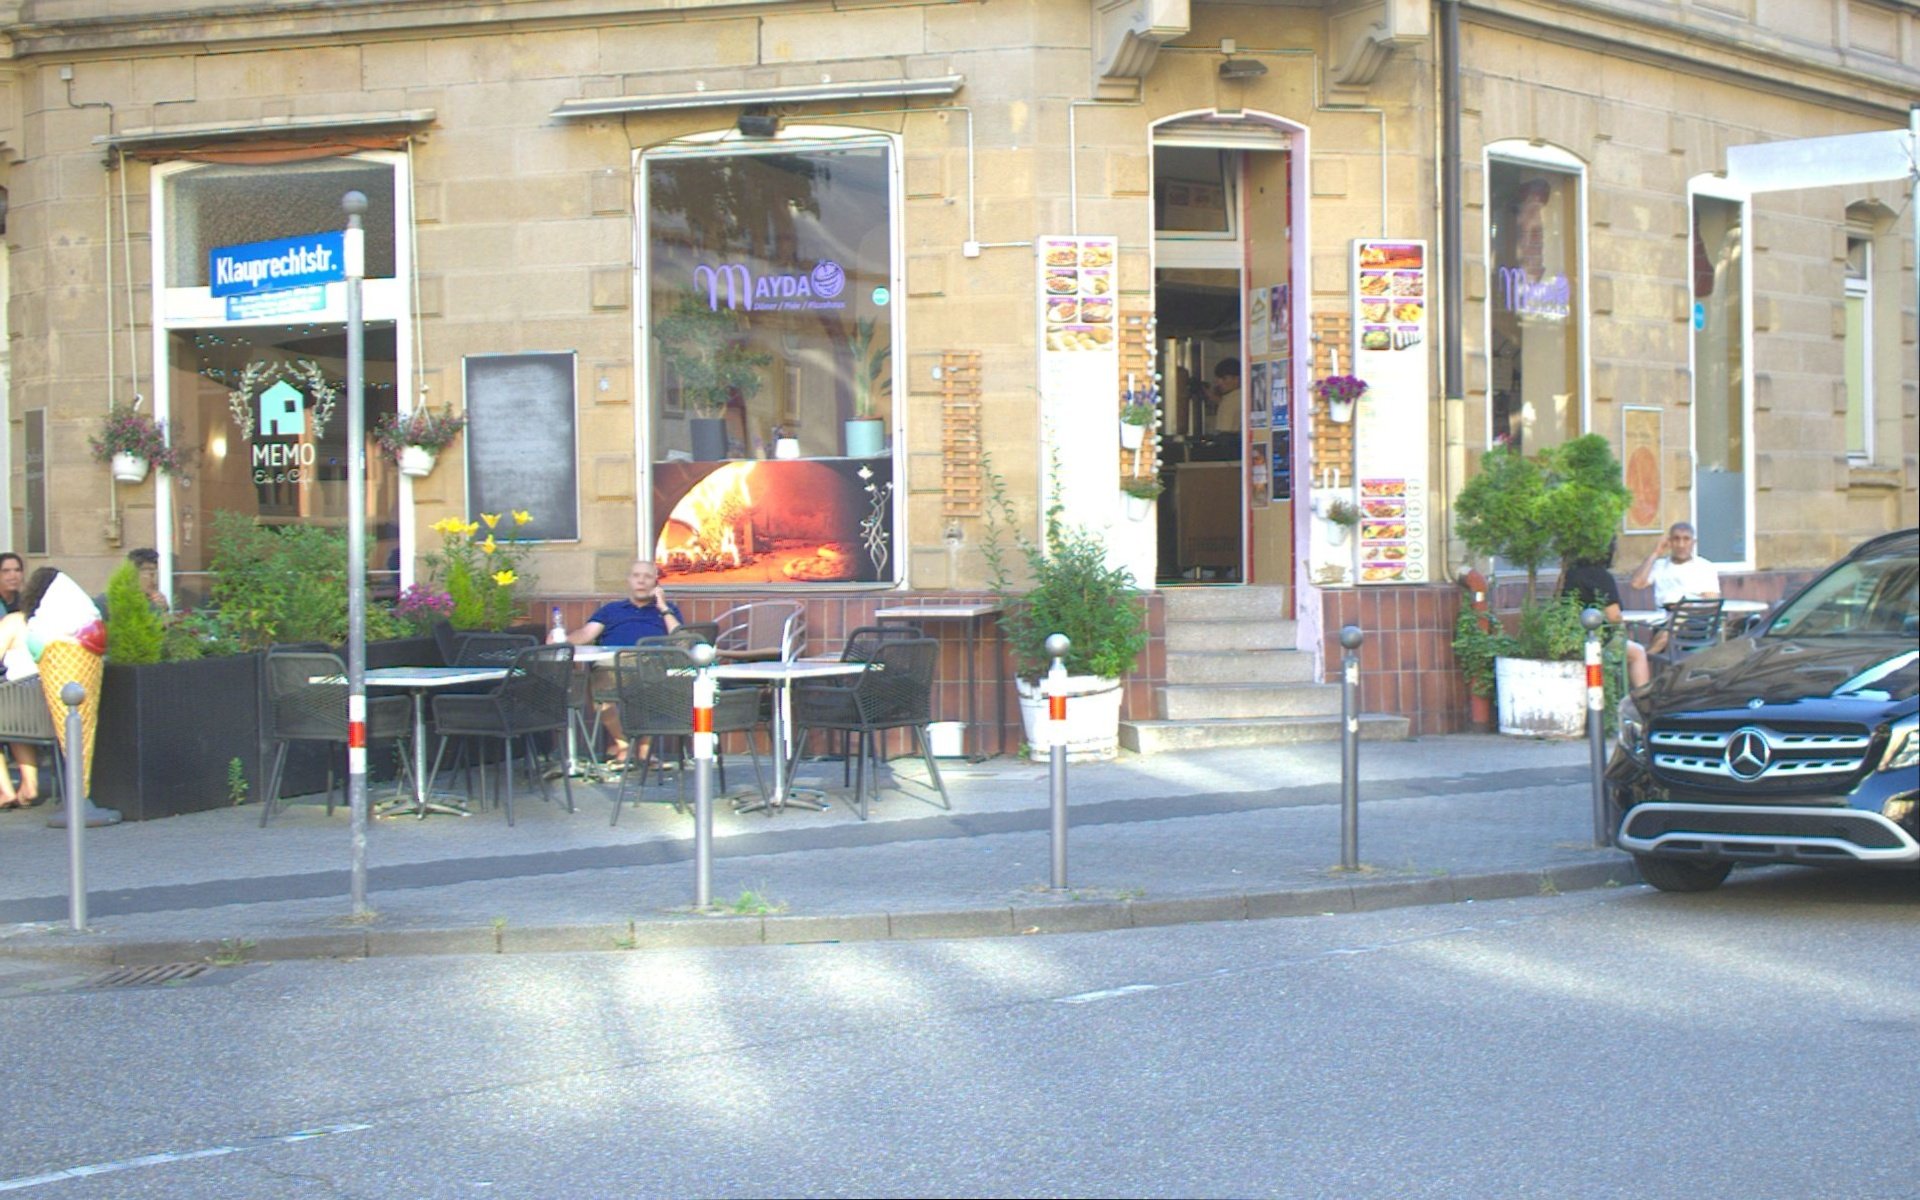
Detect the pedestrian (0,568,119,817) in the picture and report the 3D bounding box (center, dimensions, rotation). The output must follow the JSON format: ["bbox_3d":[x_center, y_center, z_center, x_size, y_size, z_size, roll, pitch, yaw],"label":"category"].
[{"bbox_3d":[-5.053,0.482,18.417,0.744,1.285,0.742,0,1,27],"label":"pedestrian"}]

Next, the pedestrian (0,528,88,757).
[{"bbox_3d":[-5.945,0.262,21.841,0.568,1.426,0.481,0,2,26],"label":"pedestrian"}]

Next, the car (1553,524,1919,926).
[{"bbox_3d":[4.398,0.418,14.681,1.762,1.482,4.129,-1,1,41],"label":"car"}]

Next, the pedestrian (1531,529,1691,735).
[{"bbox_3d":[4.085,0.187,21.570,0.727,1.254,0.755,0,1,35],"label":"pedestrian"}]

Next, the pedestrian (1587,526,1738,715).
[{"bbox_3d":[4.621,0.124,22.608,0.727,1.209,0.755,0,1,35],"label":"pedestrian"}]

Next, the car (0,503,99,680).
[{"bbox_3d":[-10.463,-0.076,33.486,3.986,1.678,2.001,-1,1,-14],"label":"car"}]

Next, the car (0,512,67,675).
[{"bbox_3d":[-11.554,-0.045,35.973,3.986,1.678,2.000,-1,1,-23],"label":"car"}]

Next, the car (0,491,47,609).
[{"bbox_3d":[-17.850,-0.888,61.582,1.807,2.077,3.752,-1,1,3],"label":"car"}]

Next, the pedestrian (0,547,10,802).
[{"bbox_3d":[-5.767,0.422,18.855,0.755,1.406,0.727,0,1,25],"label":"pedestrian"}]

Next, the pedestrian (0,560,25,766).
[{"bbox_3d":[-6.058,0.389,20.981,0.481,1.244,0.433,0,2,35],"label":"pedestrian"}]

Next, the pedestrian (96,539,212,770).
[{"bbox_3d":[-4.852,0.322,20.700,0.481,1.362,0.433,0,2,29],"label":"pedestrian"}]

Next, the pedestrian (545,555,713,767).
[{"bbox_3d":[-1.945,0.351,20.253,0.726,1.209,0.756,0,1,18],"label":"pedestrian"}]
